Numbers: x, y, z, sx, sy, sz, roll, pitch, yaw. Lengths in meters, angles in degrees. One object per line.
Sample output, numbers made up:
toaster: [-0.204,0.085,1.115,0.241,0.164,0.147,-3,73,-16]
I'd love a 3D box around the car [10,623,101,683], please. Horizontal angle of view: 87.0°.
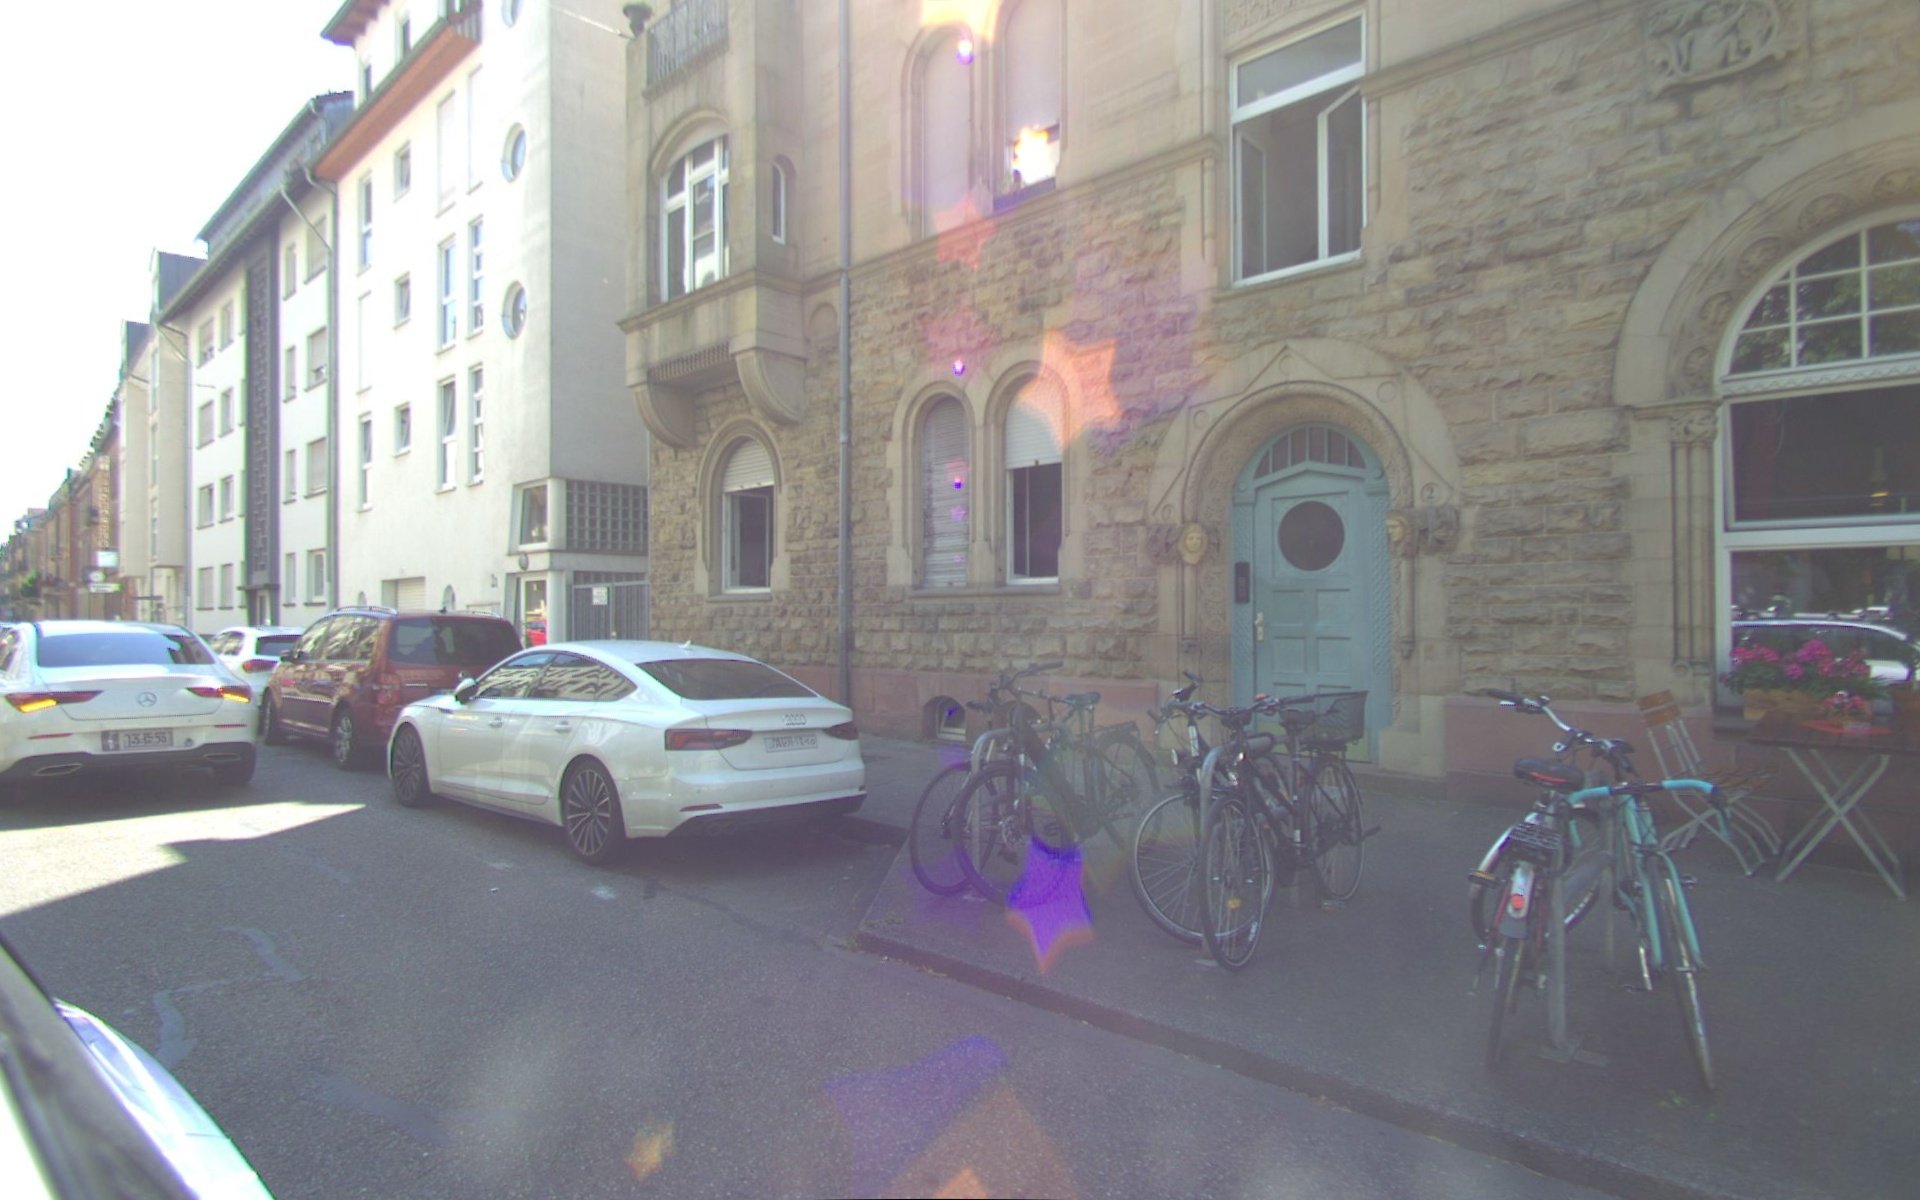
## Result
car: [-26.881,1.535,30.040,3.977,1.657,1.586,-1,-4,43]

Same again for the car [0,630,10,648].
car: [-78.428,3.082,80.603,1.679,1.441,3.941,-1,-2,45]

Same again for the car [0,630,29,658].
car: [-55.022,2.523,58.393,3.524,1.555,1.431,-1,-6,41]

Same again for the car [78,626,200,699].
car: [-18.694,1.374,22.991,3.894,1.503,1.550,-1,-4,43]

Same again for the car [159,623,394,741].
car: [-10.072,1.110,14.788,4.277,1.471,1.758,-1,-4,41]

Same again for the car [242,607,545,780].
car: [-6.444,0.933,11.330,4.051,1.595,1.655,-1,-4,41]

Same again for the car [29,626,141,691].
car: [-22.824,1.481,26.329,4.671,1.530,1.638,-1,-4,43]

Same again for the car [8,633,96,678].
car: [-30.539,1.842,33.996,4.348,1.404,1.745,-1,-4,43]

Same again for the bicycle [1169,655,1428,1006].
bicycle: [1.596,0.874,4.530,0.435,1.138,1.976,-1,0,39]

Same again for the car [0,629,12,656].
car: [-62.713,2.704,65.608,3.526,1.655,1.430,-1,-6,43]

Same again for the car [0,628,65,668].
car: [-40.158,2.068,43.724,3.851,1.561,1.612,-1,-6,40]

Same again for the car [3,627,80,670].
car: [-35.202,1.844,38.751,4.348,1.506,1.711,-1,-5,43]

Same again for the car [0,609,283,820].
car: [-7.824,0.876,9.147,4.362,1.472,1.821,-1,-4,43]

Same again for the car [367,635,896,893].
car: [-2.694,0.987,7.661,4.512,1.363,1.684,-1,-4,41]

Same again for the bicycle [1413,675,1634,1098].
bicycle: [2.101,0.873,3.669,0.413,1.053,1.688,-1,1,39]

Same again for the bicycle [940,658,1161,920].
bicycle: [0.550,0.921,5.451,0.292,1.108,1.686,-1,0,38]

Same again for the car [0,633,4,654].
car: [-66.324,2.913,68.970,3.527,1.410,1.430,-2,-6,44]

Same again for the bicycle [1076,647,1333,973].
bicycle: [1.265,0.874,4.887,0.394,1.138,1.953,-1,2,38]

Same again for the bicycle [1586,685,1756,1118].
bicycle: [2.452,0.871,3.431,0.367,1.015,1.510,-1,1,39]

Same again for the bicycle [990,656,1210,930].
bicycle: [0.788,0.901,5.258,0.292,1.108,1.686,-1,0,38]

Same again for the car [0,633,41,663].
car: [-47.937,2.405,51.280,1.757,1.440,3.839,7,-6,-44]

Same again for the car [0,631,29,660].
car: [-51.693,2.444,54.825,1.610,1.440,3.680,7,-6,-44]
